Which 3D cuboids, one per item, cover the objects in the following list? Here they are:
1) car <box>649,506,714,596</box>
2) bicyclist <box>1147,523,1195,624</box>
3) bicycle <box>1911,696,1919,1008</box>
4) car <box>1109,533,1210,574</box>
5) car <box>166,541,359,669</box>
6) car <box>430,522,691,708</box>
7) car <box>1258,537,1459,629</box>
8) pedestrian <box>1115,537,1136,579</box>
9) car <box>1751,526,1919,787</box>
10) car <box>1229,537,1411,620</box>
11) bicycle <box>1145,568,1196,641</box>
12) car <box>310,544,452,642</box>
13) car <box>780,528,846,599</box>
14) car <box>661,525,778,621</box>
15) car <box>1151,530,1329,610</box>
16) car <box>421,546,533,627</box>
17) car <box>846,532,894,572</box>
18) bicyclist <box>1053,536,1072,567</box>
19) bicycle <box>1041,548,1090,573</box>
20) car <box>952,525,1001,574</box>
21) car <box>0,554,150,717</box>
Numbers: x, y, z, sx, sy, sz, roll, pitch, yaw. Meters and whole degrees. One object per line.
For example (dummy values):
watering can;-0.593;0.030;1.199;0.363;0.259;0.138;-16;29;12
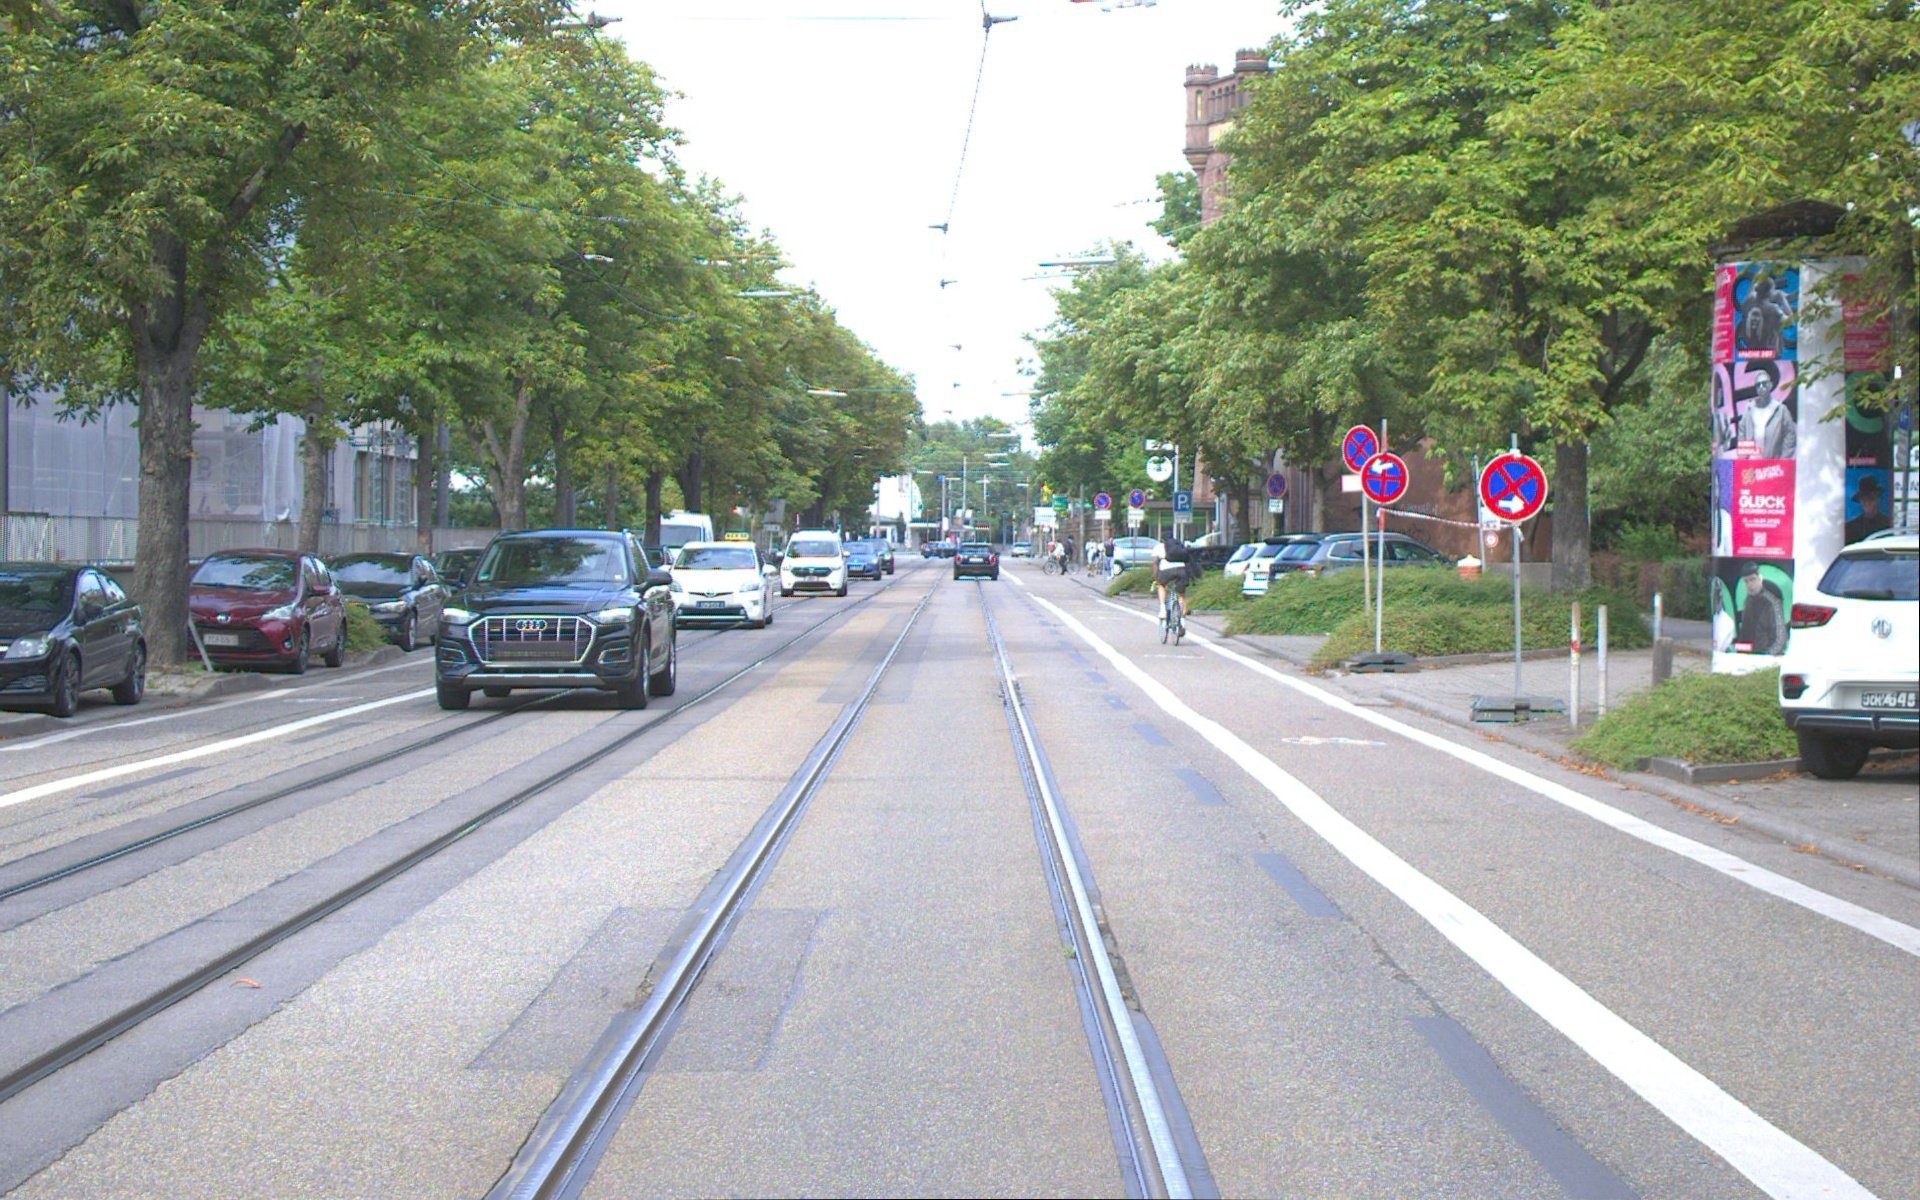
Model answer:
car;-8.588;-1.534;106.479;1.720;2.695;5.471;1;1;-2
bicyclist;3.183;-0.404;51.828;0.659;1.491;0.929;1;1;1
bicycle;3.547;0.867;10.621;0.592;1.040;1.978;1;1;-2
car;8.386;-1.966;144.746;3.986;1.687;2.000;1;1;-5
car;-8.649;0.028;42.913;1.635;1.491;3.963;1;1;-1
car;-3.677;0.088;32.342;1.847;1.607;4.334;1;1;1
car;7.152;-0.315;61.589;1.681;1.597;3.637;1;1;45
pedestrian;6.954;-1.769;144.512;0.748;1.783;0.730;1;0;15
car;6.912;0.339;22.548;1.681;1.597;3.637;1;1;45
car;7.175;-0.435;68.387;1.681;1.597;3.637;1;1;45
bicycle;3.173;0.059;51.828;0.663;1.040;1.841;1;1;1
car;-8.736;-0.129;52.113;1.590;1.398;3.963;1;1;-2
car;-3.984;-1.024;93.711;1.732;1.878;4.379;1;1;-2
car;-4.146;-0.495;59.780;1.732;1.607;4.334;0;1;0
car;5.766;-0.609;70.534;1.681;1.597;3.637;1;1;45
car;-8.731;-0.271;62.425;1.590;1.398;3.963;1;1;-2
car;-3.418;-1.835;131.462;1.732;1.491;4.378;0;1;0
bicyclist;4.977;-2.355;166.963;0.847;1.499;0.768;1;1;7
bicycle;5.130;-1.902;166.952;2.275;1.185;0.768;1;1;8
car;0.623;-1.981;133.840;1.795;1.817;4.679;1;1;-1
car;-8.804;0.287;32.256;1.590;1.398;3.963;1;1;-2
